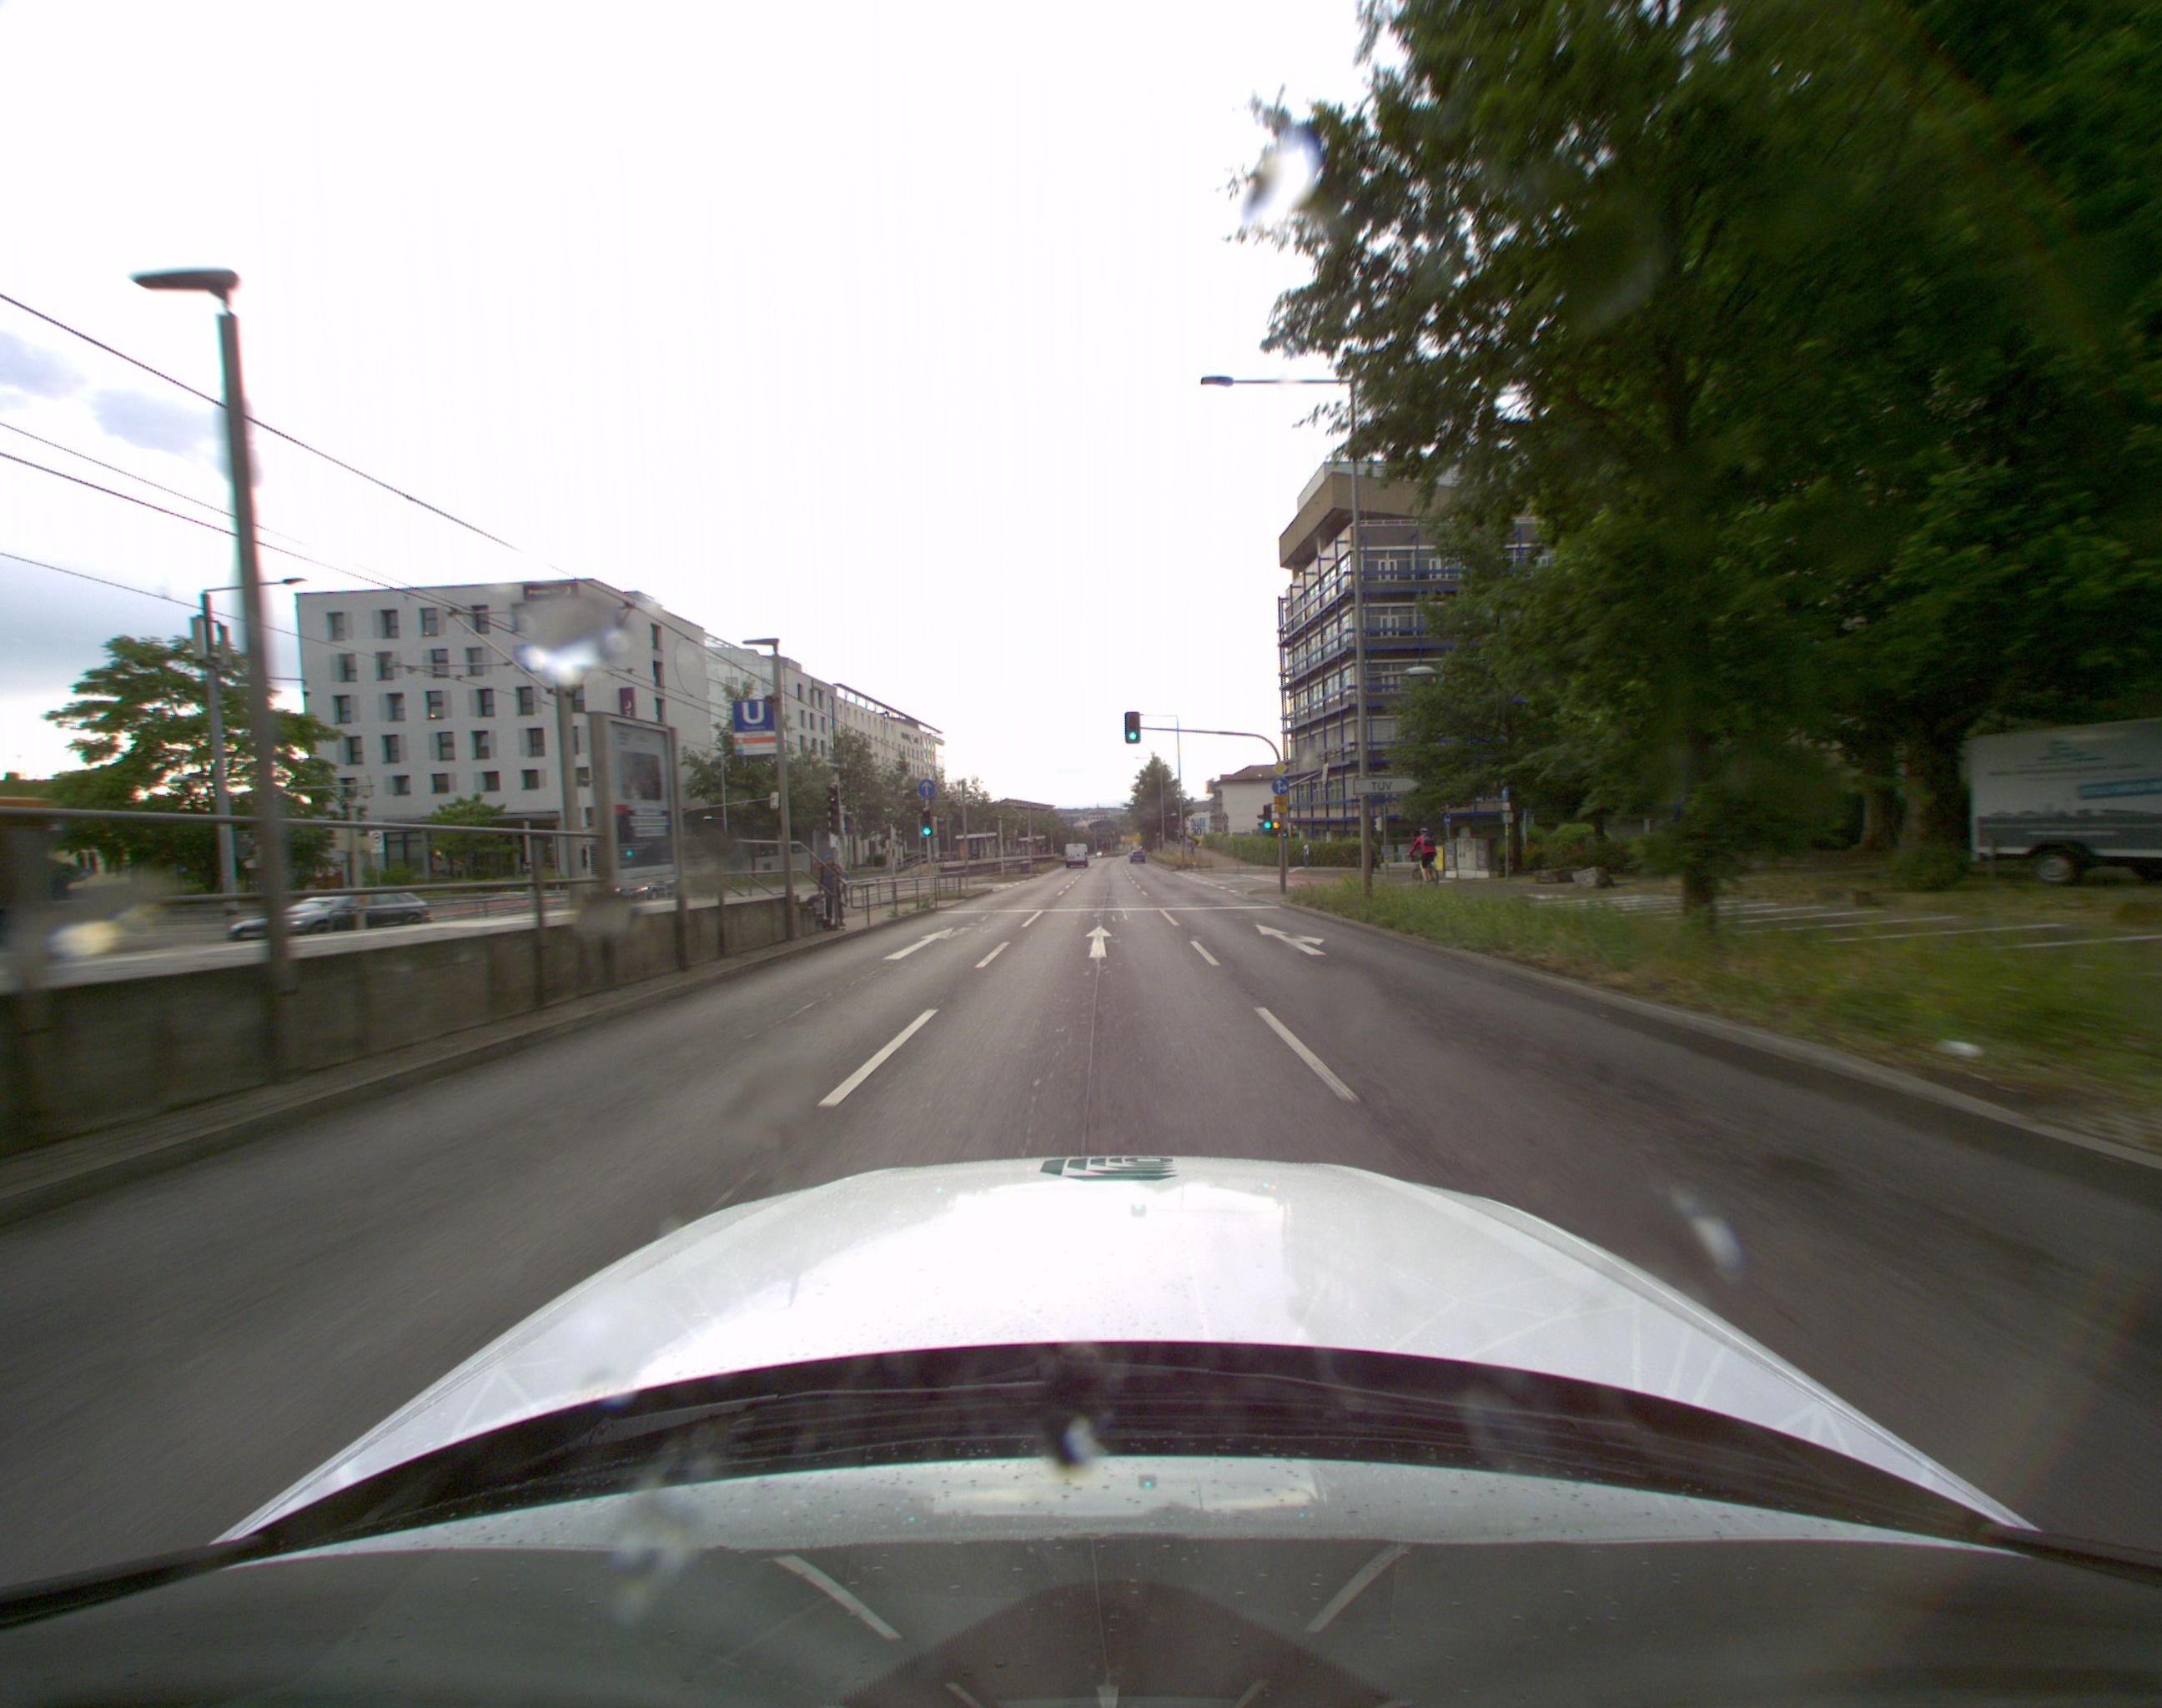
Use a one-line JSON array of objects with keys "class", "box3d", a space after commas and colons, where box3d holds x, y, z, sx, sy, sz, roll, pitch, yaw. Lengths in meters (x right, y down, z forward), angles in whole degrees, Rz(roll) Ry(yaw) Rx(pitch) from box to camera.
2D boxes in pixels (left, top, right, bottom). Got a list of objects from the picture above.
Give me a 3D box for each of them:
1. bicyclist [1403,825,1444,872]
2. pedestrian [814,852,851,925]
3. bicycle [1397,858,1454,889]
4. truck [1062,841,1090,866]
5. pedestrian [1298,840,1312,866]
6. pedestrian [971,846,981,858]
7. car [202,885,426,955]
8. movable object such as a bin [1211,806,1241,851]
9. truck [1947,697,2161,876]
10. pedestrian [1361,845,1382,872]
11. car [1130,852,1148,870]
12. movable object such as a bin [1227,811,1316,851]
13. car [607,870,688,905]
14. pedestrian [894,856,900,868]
[{"class": "bicyclist", "box3d": [9.544, -0.153, 22.728, 0.653, 1.288, 1.220, 0, 0, 2]}, {"class": "pedestrian", "box3d": [-5.836, 0.785, 19.086, 0.704, 1.650, 0.644, -1, 0, -27]}, {"class": "bicycle", "box3d": [9.547, 0.521, 22.682, 0.665, 0.809, 2.319, 0, 0, 2]}, {"class": "truck", "box3d": [-0.422, -0.032, 78.827, 2.350, 2.262, 5.310, 0, 0, 3]}, {"class": "pedestrian", "box3d": [14.246, -0.076, 51.730, 0.553, 1.652, 0.830, -2, 0, -8]}, {"class": "pedestrian", "box3d": [-11.640, -0.235, 90.122, 0.957, 1.300, 0.685, -2, 0, 3]}, {"class": "car", "box3d": [-20.507, 1.697, 22.102, 1.847, 1.427, 4.387, -3, 0, 0]}, {"class": "movable object such as a bin", "box3d": [19.359, -3.275, 109.166, 3.274, 5.684, 8.776, 0, 0, 5]}, {"class": "truck", "box3d": [16.099, -0.954, 12.286, 1.741, 2.518, 3.997, 0, 0, -2]}, {"class": "pedestrian", "box3d": [16.876, 0.255, 47.336, 0.892, 1.541, 0.804, -2, 0, 40]}, {"class": "car", "box3d": [6.670, 0.761, 93.258, 1.984, 2.014, 3.940, 0, 0, 5]}, {"class": "movable object such as a bin", "box3d": [27.991, -3.351, 120.221, 12.093, 5.261, 3.791, -3, -1, 2]}, {"class": "car", "box3d": [-20.501, 1.550, 38.681, 1.722, 1.423, 3.780, -2, 0, 1]}, {"class": "pedestrian", "box3d": [-25.595, 1.091, 113.564, 0.597, 1.578, 0.836, 0, 0, 4]}]
